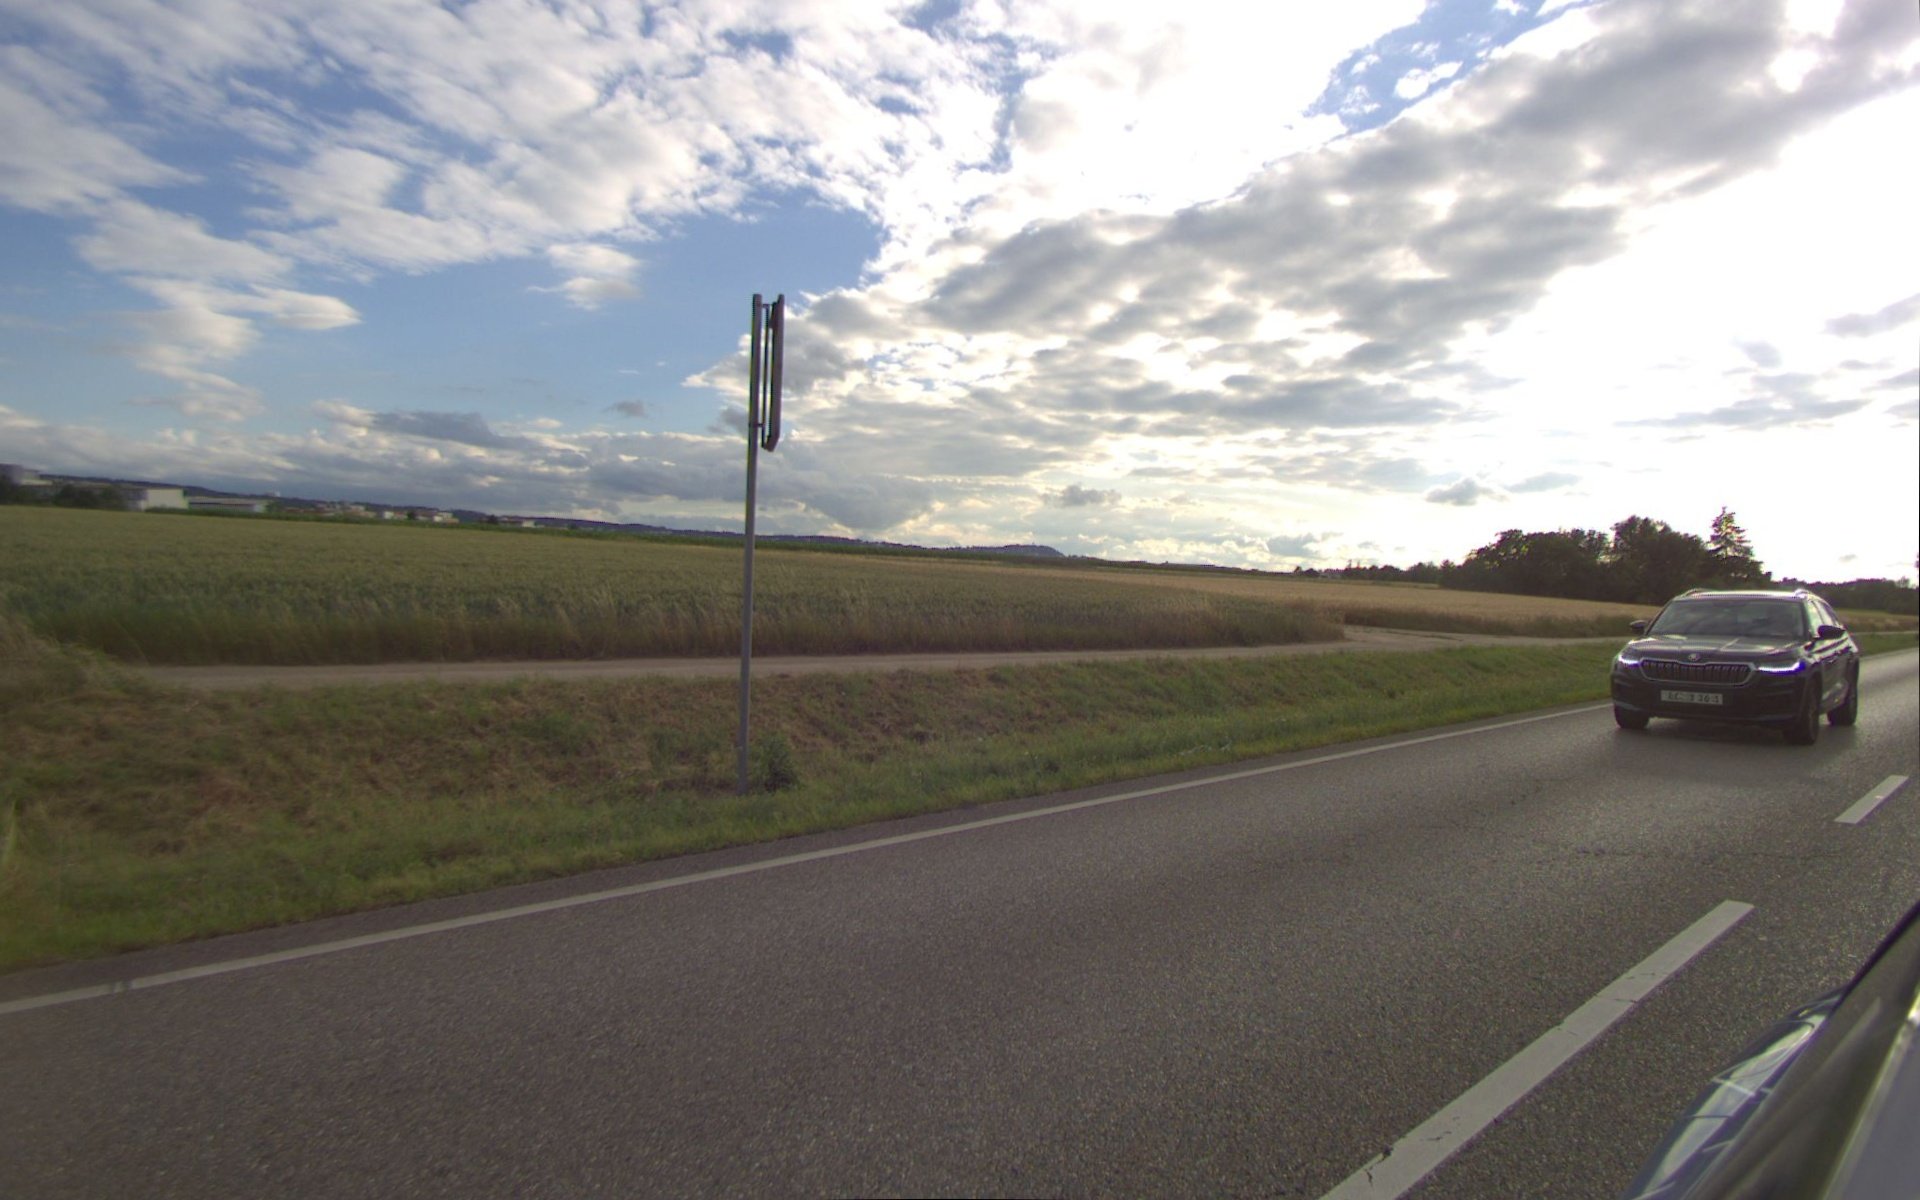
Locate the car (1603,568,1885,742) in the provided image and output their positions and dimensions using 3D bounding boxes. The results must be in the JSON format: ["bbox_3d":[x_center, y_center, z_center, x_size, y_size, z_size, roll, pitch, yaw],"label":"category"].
[{"bbox_3d":[9.565,0.522,12.213,4.477,1.730,1.840,-1,0,-41],"label":"car"}]
